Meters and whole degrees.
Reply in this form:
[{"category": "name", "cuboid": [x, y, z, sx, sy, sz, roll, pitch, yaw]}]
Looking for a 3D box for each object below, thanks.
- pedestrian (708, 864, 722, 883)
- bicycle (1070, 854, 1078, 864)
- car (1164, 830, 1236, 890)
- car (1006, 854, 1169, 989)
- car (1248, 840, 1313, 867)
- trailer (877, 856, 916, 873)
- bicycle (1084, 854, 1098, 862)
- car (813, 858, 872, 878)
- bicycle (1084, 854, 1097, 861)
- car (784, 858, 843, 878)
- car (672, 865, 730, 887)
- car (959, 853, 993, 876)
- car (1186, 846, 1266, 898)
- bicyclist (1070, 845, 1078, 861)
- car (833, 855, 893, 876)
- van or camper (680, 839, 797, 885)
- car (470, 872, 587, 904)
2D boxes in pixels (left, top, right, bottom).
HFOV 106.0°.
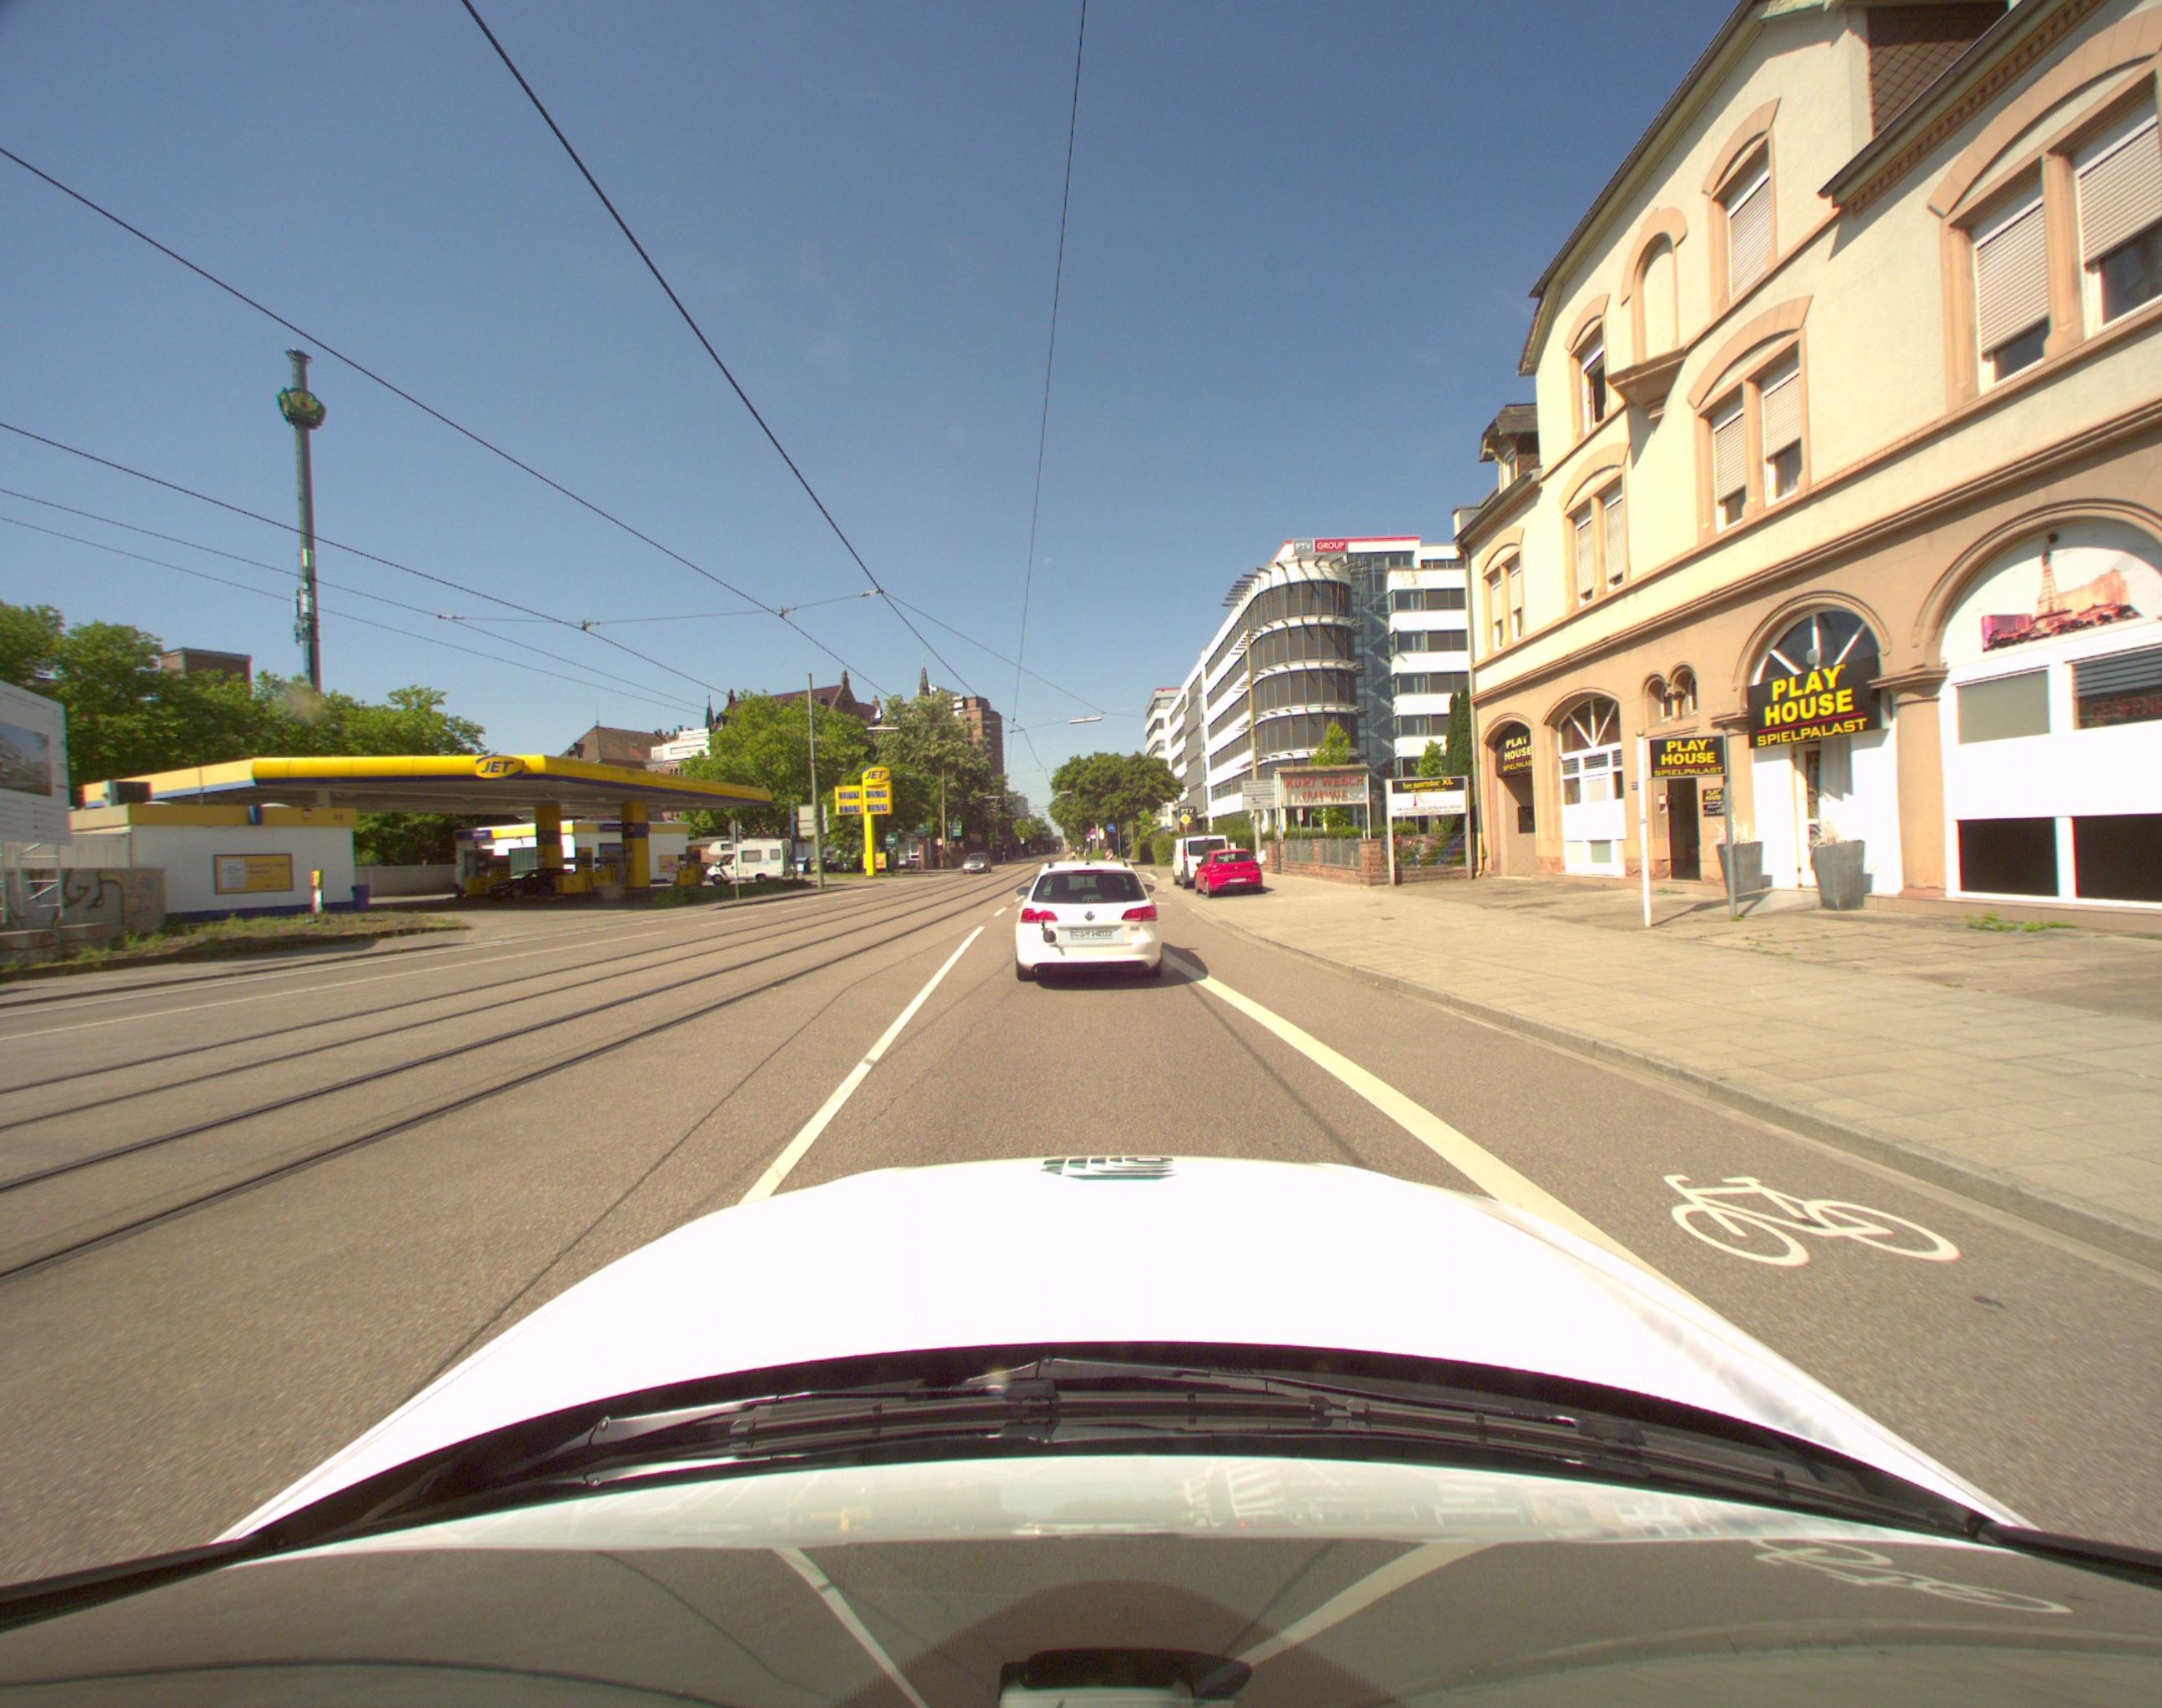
[{"category": "pedestrian", "cuboid": [-29.679, 1.603, 66.034, 0.673, 1.468, 0.641, -2, 0, 8]}, {"category": "bicycle", "cuboid": [-0.786, 0.549, 87.443, 0.808, 1.078, 2.012, -2, 0, 0]}, {"category": "car", "cuboid": [4.664, 0.213, 32.700, 1.970, 2.054, 5.190, -4, 0, 0]}, {"category": "car", "cuboid": [0.074, 0.742, 11.148, 1.748, 1.442, 4.412, -1, 0, 0]}, {"category": "car", "cuboid": [12.280, -0.049, 50.211, 3.582, 1.473, 1.592, -2, 0, -1]}, {"category": "trailer", "cuboid": [-17.832, 1.000, 78.809, 3.205, 1.525, 1.778, -2, 0, 0]}, {"category": "bicycle", "cuboid": [1.459, 0.529, 117.033, 1.907, 1.083, 0.550, -1, 0, -4]}, {"category": "car", "cuboid": [-21.024, 1.230, 72.019, 1.925, 1.467, 4.606, -2, 0, 43]}, {"category": "bicycle", "cuboid": [1.412, 0.525, 117.632, 1.907, 1.083, 0.550, 0, 0, -4]}, {"category": "car", "cuboid": [-23.952, 1.269, 72.958, 1.925, 1.583, 4.606, -2, 0, 44]}, {"category": "car", "cuboid": [-29.954, 1.735, 64.197, 4.120, 1.527, 1.948, -2, 0, 25]}, {"category": "car", "cuboid": [-8.111, 0.803, 63.367, 1.738, 1.571, 3.896, -4, -1, 5]}, {"category": "car", "cuboid": [4.601, 0.535, 26.417, 1.716, 1.443, 4.312, -4, 0, 0]}, {"category": "bicyclist", "cuboid": [-0.761, -0.093, 87.673, 0.783, 1.629, 0.738, 0, -1, -1]}, {"category": "car", "cuboid": [-18.884, 0.983, 70.677, 1.925, 1.625, 4.606, -2, 0, 43]}, {"category": "van or camper", "cuboid": [-22.860, 0.508, 54.678, 6.684, 2.967, 2.610, 0, 0, -7]}, {"category": "car", "cuboid": [-26.501, 1.588, 39.220, 1.681, 1.303, 4.415, -1, 0, 24]}]
